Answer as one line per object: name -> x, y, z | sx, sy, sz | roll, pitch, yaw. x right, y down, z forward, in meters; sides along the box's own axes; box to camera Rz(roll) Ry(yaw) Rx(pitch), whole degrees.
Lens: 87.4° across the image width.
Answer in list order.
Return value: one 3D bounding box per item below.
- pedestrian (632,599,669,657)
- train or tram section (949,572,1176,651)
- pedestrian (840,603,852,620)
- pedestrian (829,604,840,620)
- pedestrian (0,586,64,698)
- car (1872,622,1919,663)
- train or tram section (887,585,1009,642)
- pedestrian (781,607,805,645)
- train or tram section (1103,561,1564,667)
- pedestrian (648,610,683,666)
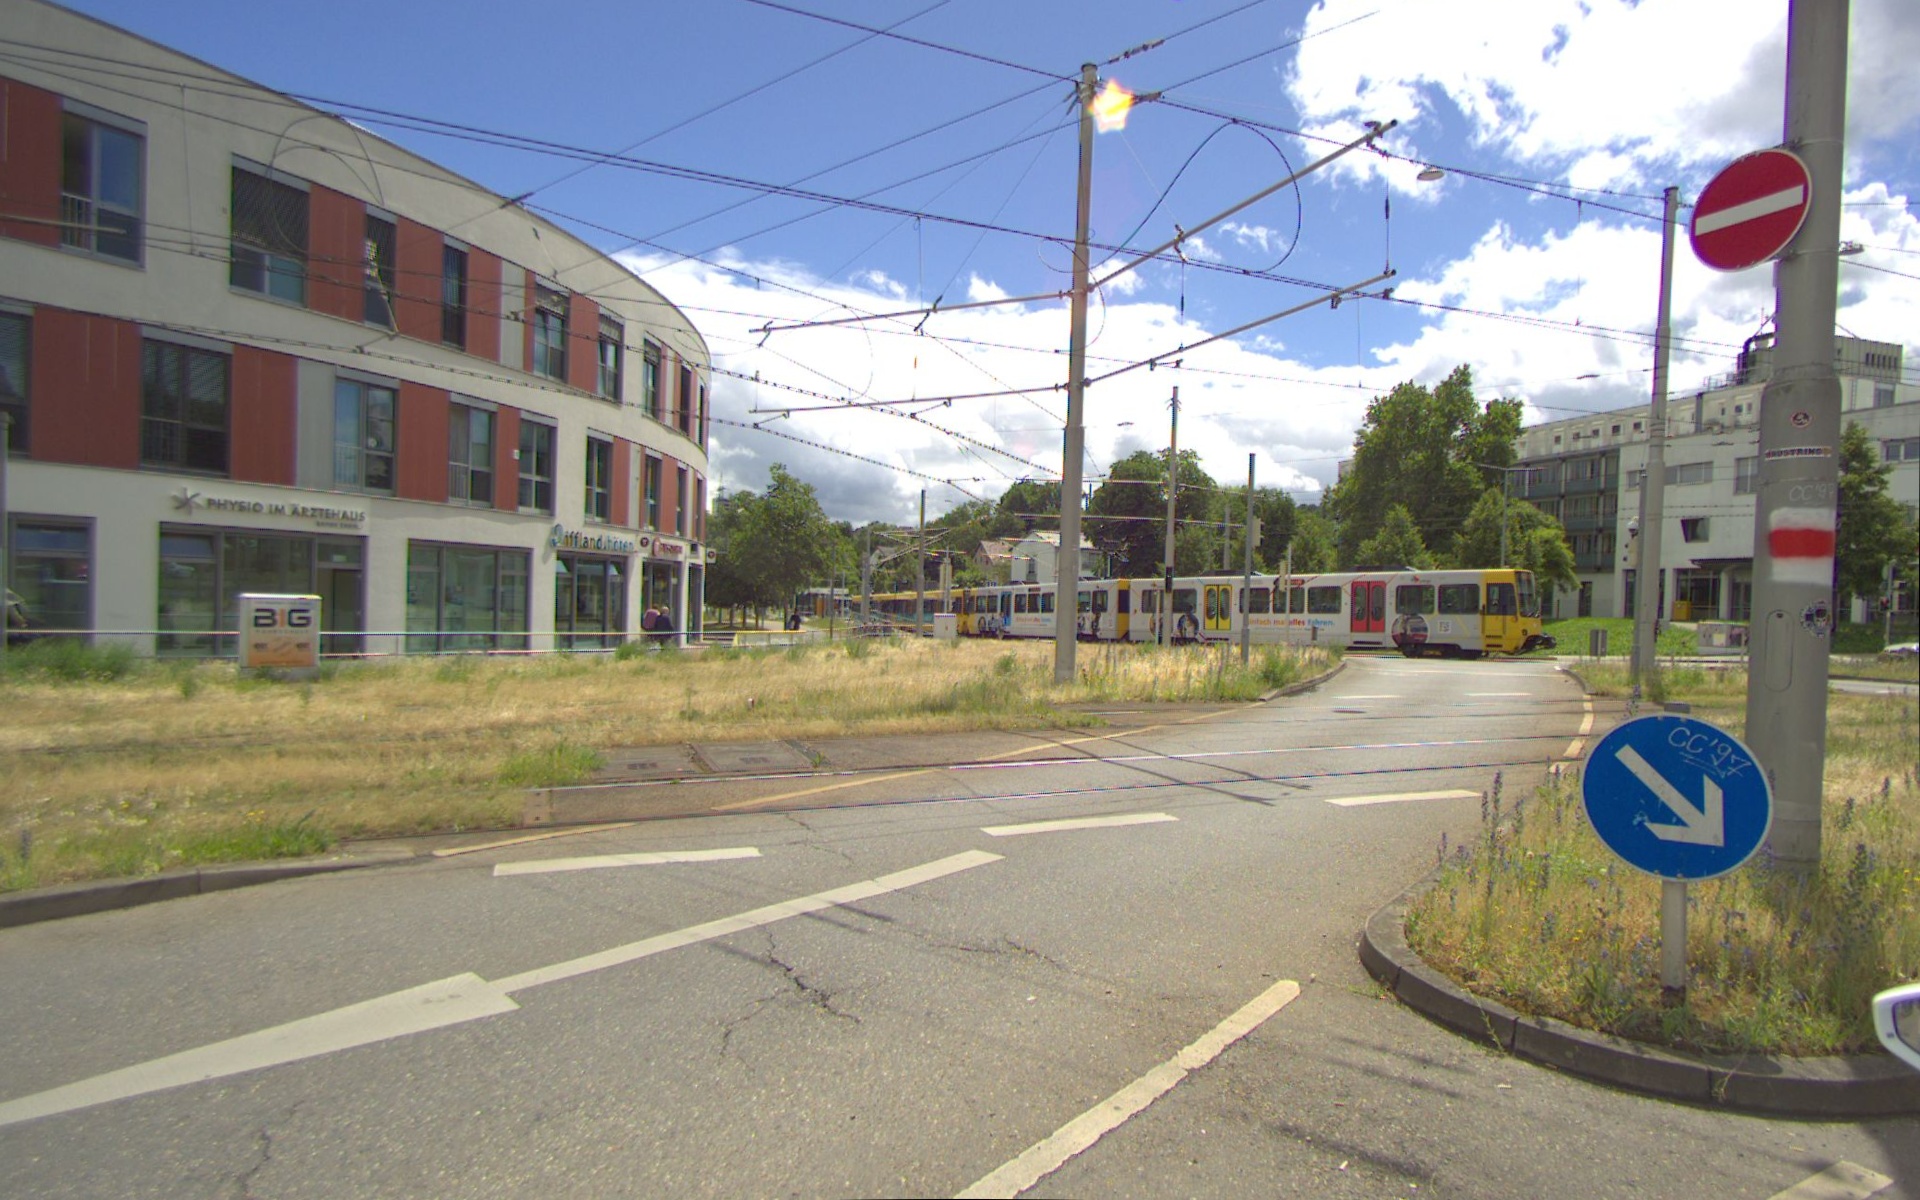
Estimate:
pedestrian -> -10.940, 0.993, 35.525 | 0.847, 1.994, 1.106 | 1, -1, 2
train or tram section -> 5.279, 0.779, 61.040 | 3.711, 3.930, 20.506 | 2, -2, -25
pedestrian -> -14.180, 1.434, 125.445 | 1.241, 2.040, 1.121 | 2, -1, -19
pedestrian -> -16.721, 1.591, 133.497 | 1.241, 2.040, 1.121 | 2, -1, -19
pedestrian -> -17.273, 0.753, 18.360 | 0.850, 1.994, 1.112 | 0, -2, 36
car -> 39.256, 1.738, 39.882 | 4.085, 1.606, 1.860 | 1, -1, 15
train or tram section -> -1.485, 1.128, 79.207 | 3.703, 3.880, 20.068 | 2, -2, -18
pedestrian -> -7.462, 1.164, 44.962 | 0.847, 1.646, 0.733 | 1, -1, 7
train or tram section -> 15.434, 0.605, 45.102 | 3.736, 3.864, 19.790 | 3, -2, -44
pedestrian -> -8.602, 1.102, 29.388 | 0.720, 1.601, 0.691 | 1, 0, 13
